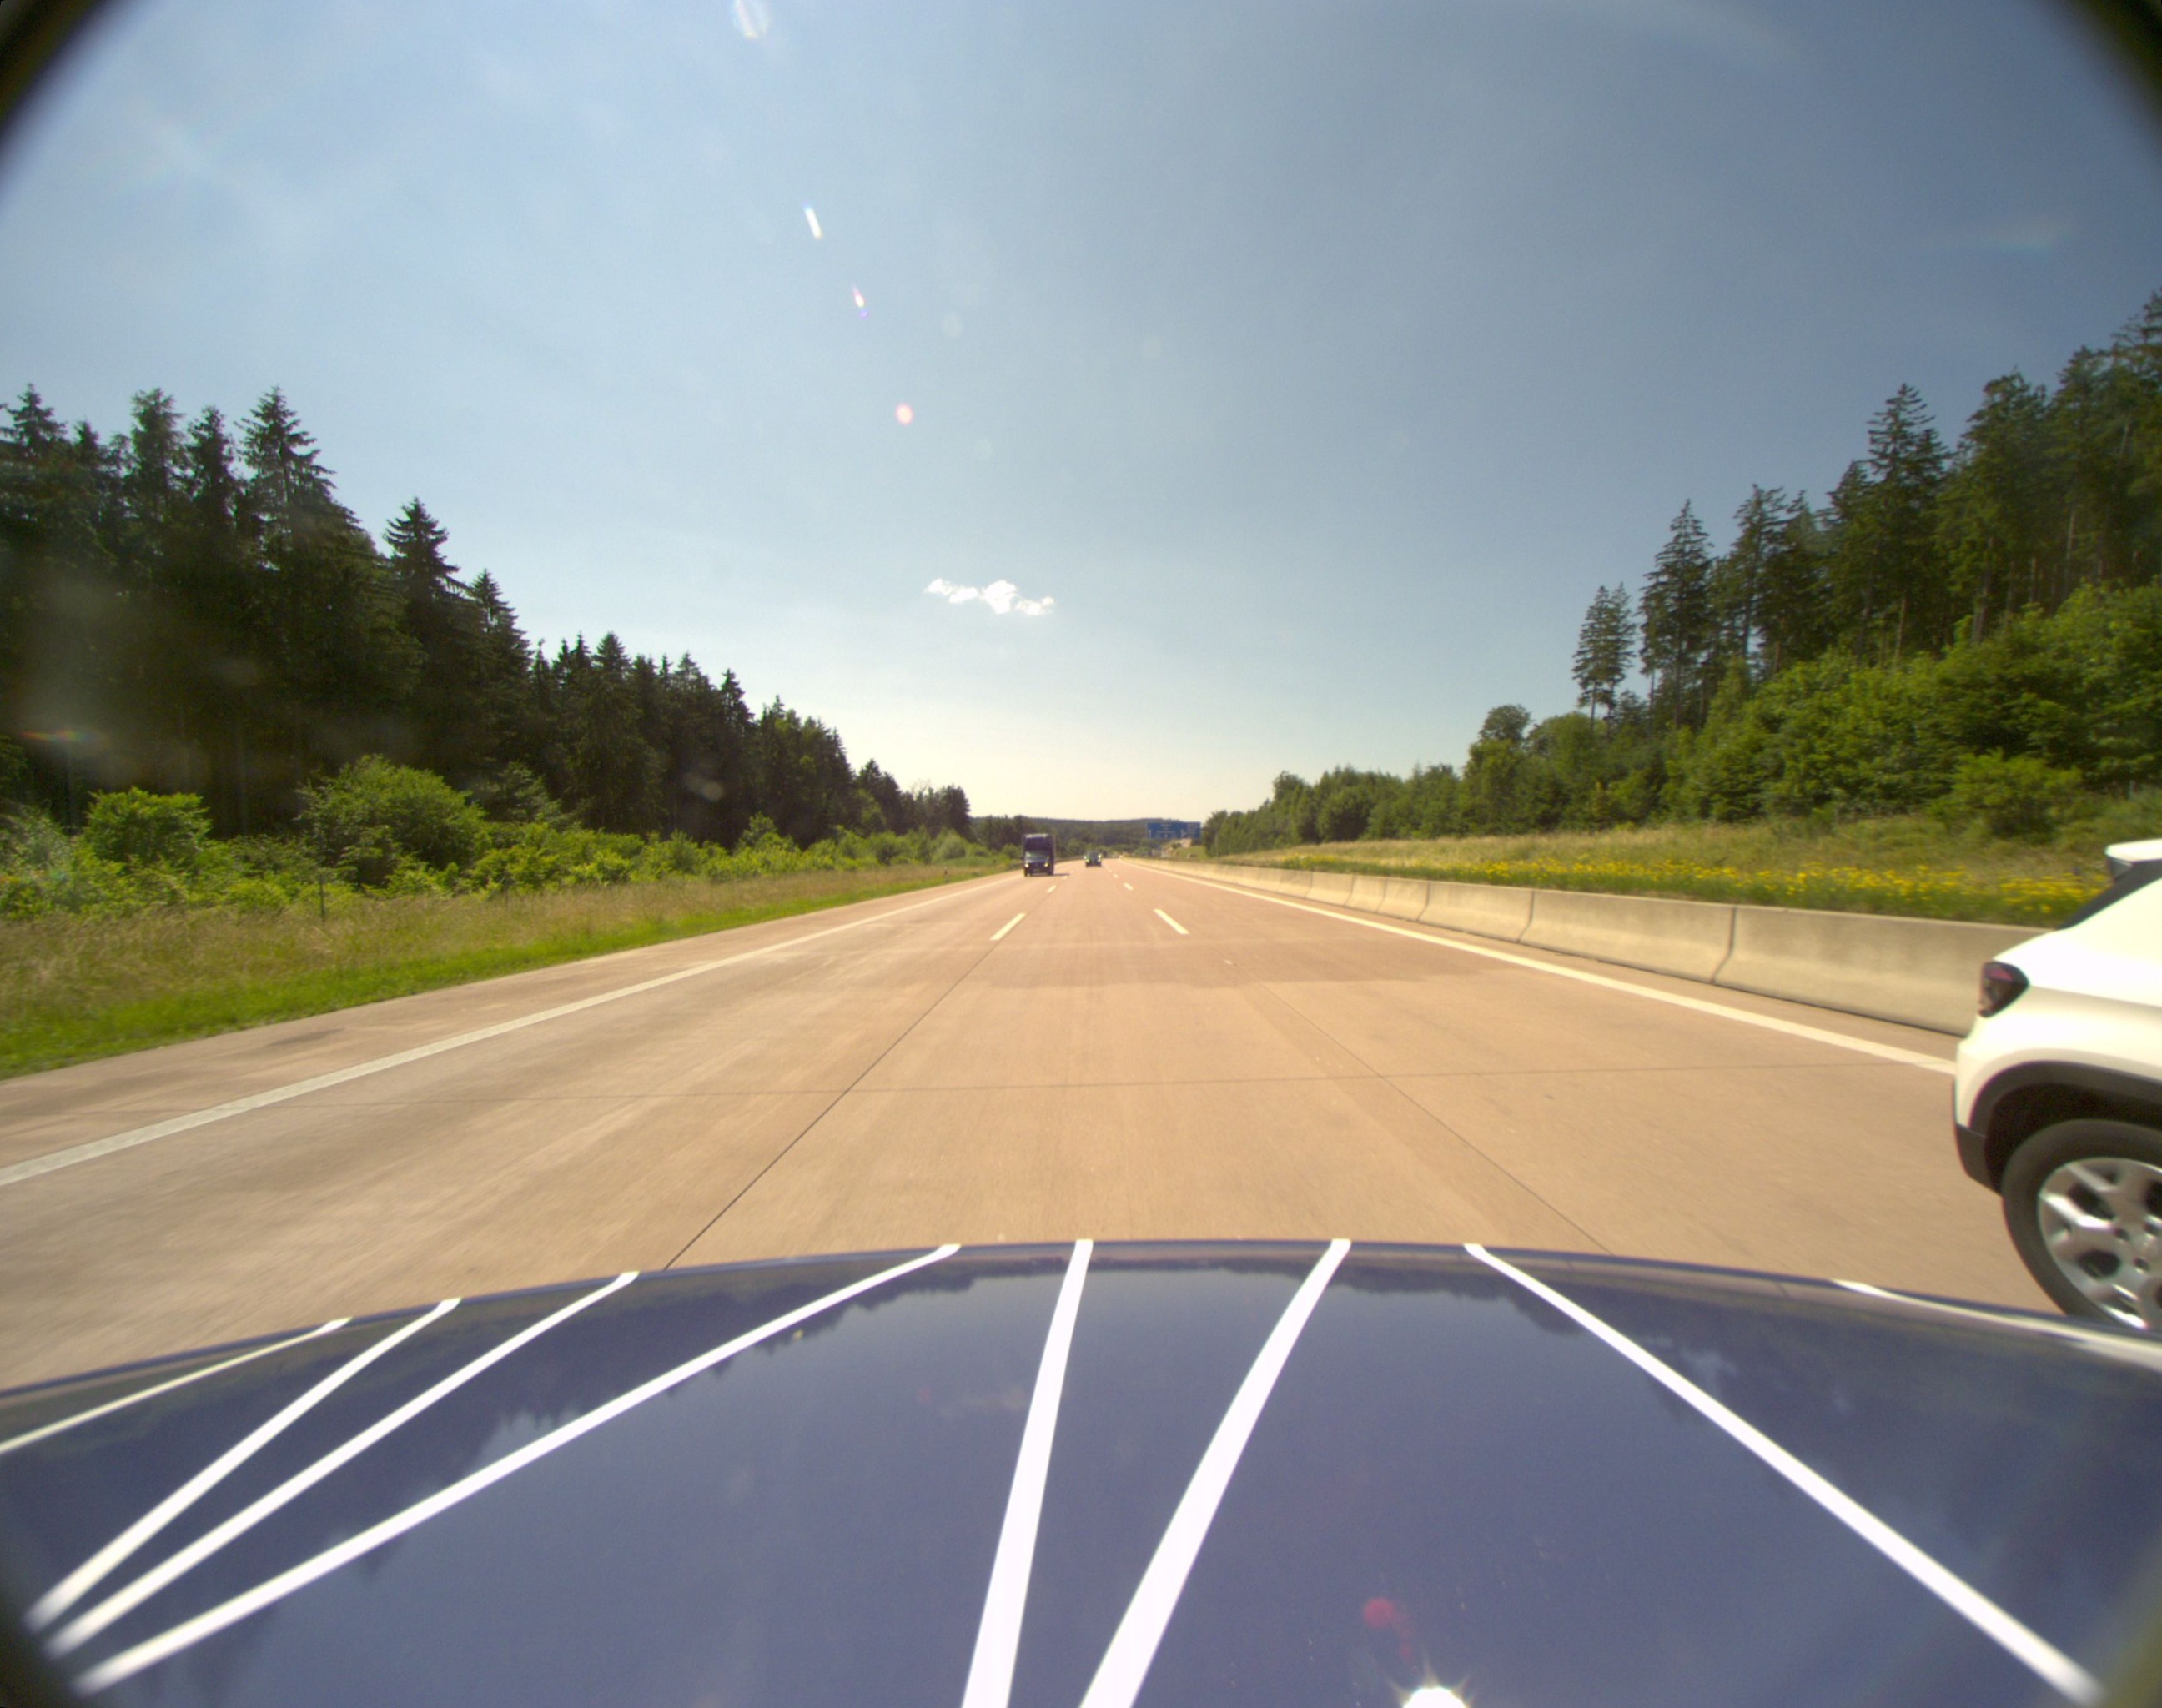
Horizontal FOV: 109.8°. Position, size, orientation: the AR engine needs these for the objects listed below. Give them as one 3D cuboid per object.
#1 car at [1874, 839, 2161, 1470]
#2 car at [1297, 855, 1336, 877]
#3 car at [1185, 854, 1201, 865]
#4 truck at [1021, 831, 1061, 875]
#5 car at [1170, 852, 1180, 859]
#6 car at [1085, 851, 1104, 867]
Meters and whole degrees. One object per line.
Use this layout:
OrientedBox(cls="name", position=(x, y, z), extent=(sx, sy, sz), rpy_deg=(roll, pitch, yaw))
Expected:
OrientedBox(cls="car", position=(3.675, 0.772, 0.213), extent=(1.883, 1.598, 4.833), rpy_deg=(-2, 1, 0))
OrientedBox(cls="car", position=(20.115, 0.991, 65.056), extent=(1.896, 1.728, 4.463), rpy_deg=(-2, 0, -1))
OrientedBox(cls="car", position=(18.172, 0.845, 123.681), extent=(1.896, 1.728, 4.463), rpy_deg=(-2, 0, -1))
OrientedBox(cls="truck", position=(-3.096, -0.086, 60.764), extent=(2.508, 3.199, 7.785), rpy_deg=(-2, 0, 2))
OrientedBox(cls="car", position=(23.724, 0.312, 192.173), extent=(1.895, 1.584, 4.464), rpy_deg=(-2, 0, 1))
OrientedBox(cls="car", position=(1.664, 0.602, 90.797), extent=(1.998, 1.805, 4.565), rpy_deg=(-2, 0, 3))
